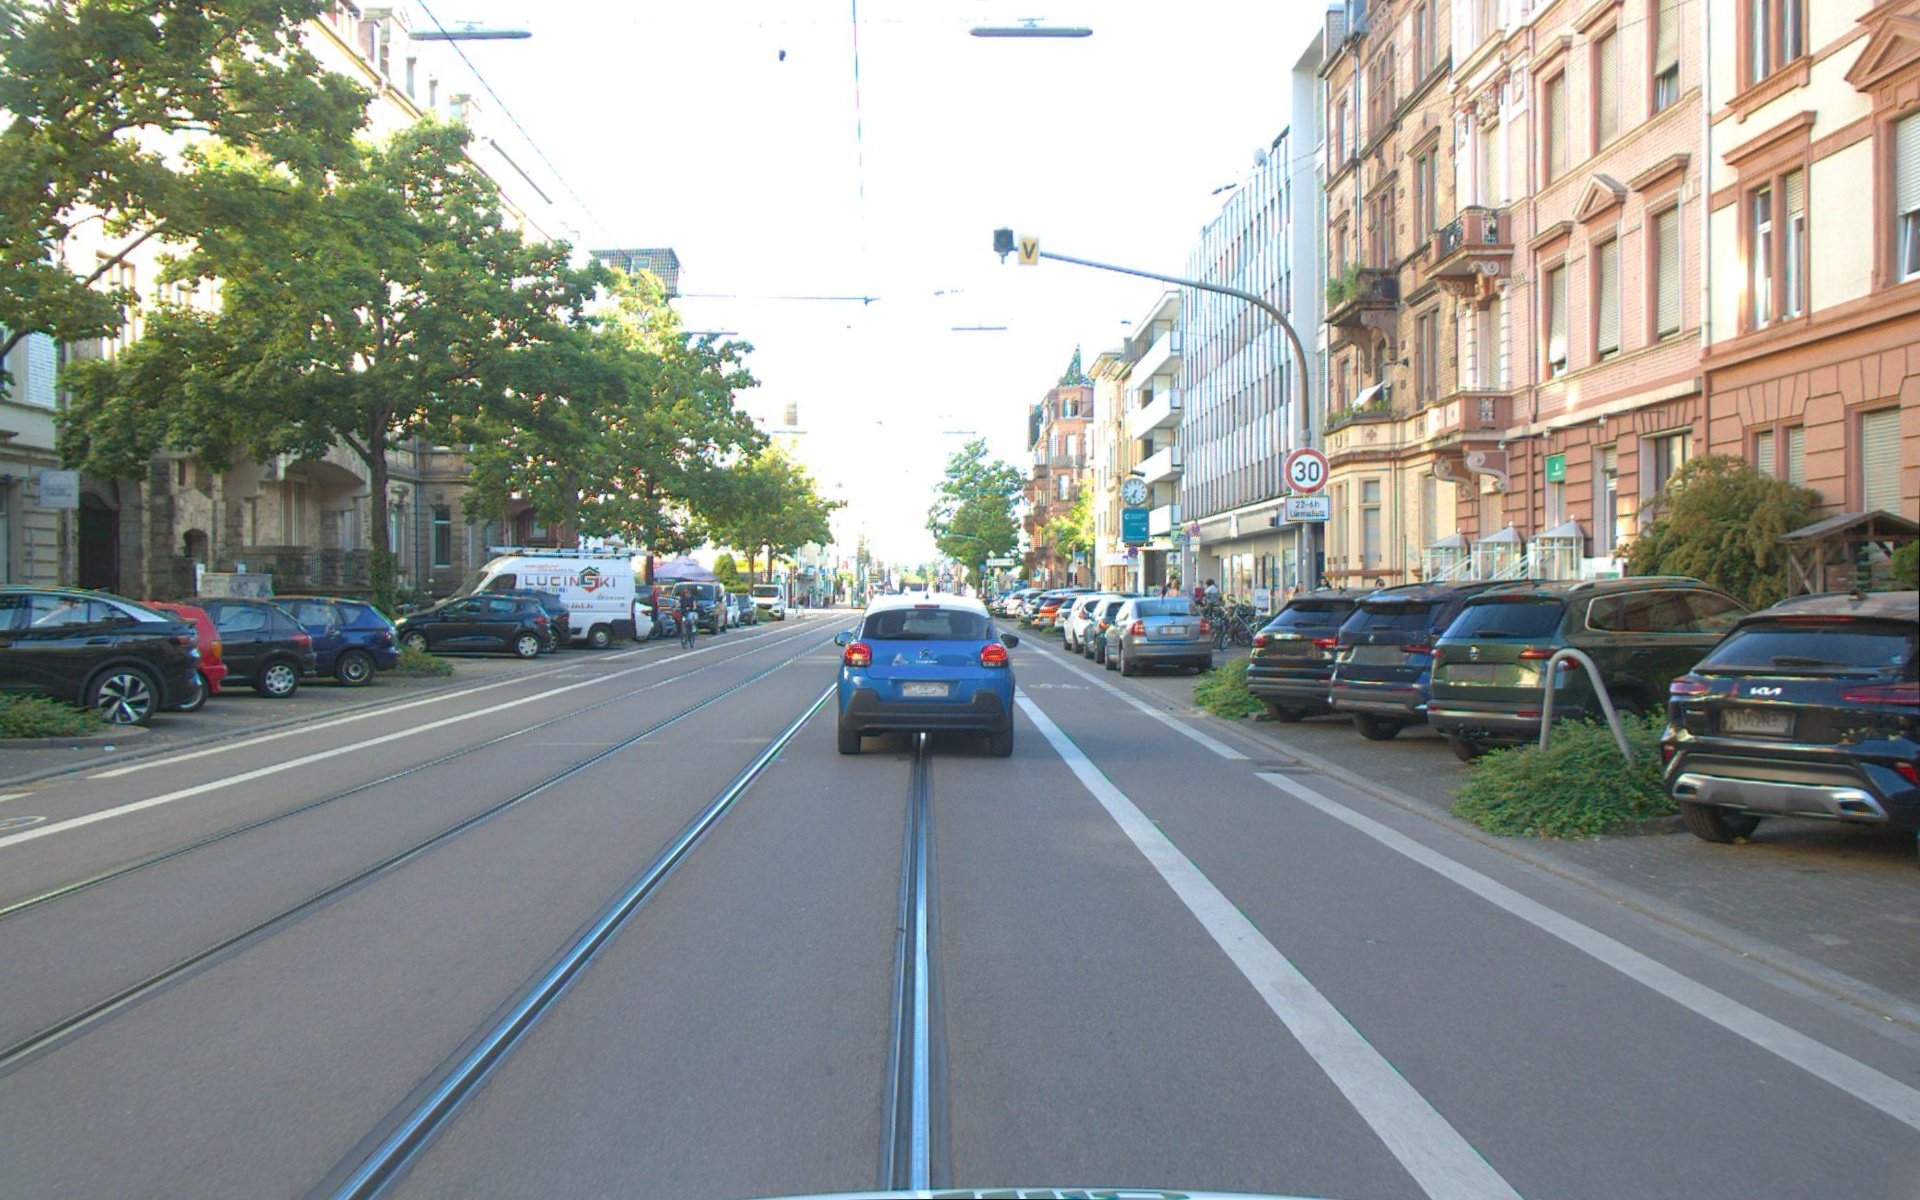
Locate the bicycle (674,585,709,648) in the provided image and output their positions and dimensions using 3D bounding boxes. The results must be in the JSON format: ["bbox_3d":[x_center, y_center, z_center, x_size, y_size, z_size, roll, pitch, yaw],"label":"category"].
[{"bbox_3d":[-7.518,0.451,46.368,0.666,1.708,2.096,1,0,-1],"label":"bicycle"}]

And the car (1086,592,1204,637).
[{"bbox_3d":[6.362,0.504,56.871,3.735,1.513,1.819,1,0,-31],"label":"car"}]

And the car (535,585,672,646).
[{"bbox_3d":[-11.246,0.487,52.186,3.939,1.848,1.697,1,0,-27],"label":"car"}]

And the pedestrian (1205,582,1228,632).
[{"bbox_3d":[9.228,0.263,59.511,0.678,1.787,0.678,1,-1,-1],"label":"pedestrian"}]

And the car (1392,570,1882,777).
[{"bbox_3d":[6.034,0.599,14.739,3.937,1.624,1.943,1,0,-26],"label":"car"}]

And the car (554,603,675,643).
[{"bbox_3d":[-11.590,0.777,55.533,3.752,1.287,1.503,1,0,-27],"label":"car"}]

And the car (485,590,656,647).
[{"bbox_3d":[-11.622,0.559,49.497,4.713,1.646,1.692,1,0,-34],"label":"car"}]

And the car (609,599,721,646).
[{"bbox_3d":[-10.578,0.801,59.273,3.672,1.651,1.777,1,0,-23],"label":"car"}]

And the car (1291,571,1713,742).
[{"bbox_3d":[5.710,0.554,17.458,3.937,1.624,2.070,1,0,-26],"label":"car"}]

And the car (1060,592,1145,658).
[{"bbox_3d":[3.683,0.638,43.436,1.835,1.624,3.999,1,0,-1],"label":"car"}]

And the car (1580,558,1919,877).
[{"bbox_3d":[6.110,0.618,10.494,4.280,1.624,2.021,1,0,-34],"label":"car"}]

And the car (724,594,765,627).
[{"bbox_3d":[-10.430,0.505,80.210,1.713,1.513,4.038,1,0,-4],"label":"car"}]

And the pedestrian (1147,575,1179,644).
[{"bbox_3d":[5.042,0.226,41.134,0.697,1.701,0.654,1,-1,-2],"label":"pedestrian"}]

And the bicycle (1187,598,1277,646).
[{"bbox_3d":[7.283,0.589,44.337,2.309,1.243,0.664,1,0,2],"label":"bicycle"}]

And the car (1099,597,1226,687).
[{"bbox_3d":[3.861,0.770,32.310,1.835,1.624,4.718,1,0,-1],"label":"car"}]

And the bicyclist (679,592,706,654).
[{"bbox_3d":[-7.503,0.636,46.429,0.621,1.711,0.726,1,0,-1],"label":"bicyclist"}]

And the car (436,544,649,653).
[{"bbox_3d":[-11.262,-0.009,44.756,5.316,2.797,1.787,1,0,-31],"label":"car"}]

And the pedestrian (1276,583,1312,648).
[{"bbox_3d":[8.560,0.399,42.391,0.697,1.635,0.654,-3,0,-2],"label":"pedestrian"}]

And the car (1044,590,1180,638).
[{"bbox_3d":[4.992,0.469,53.971,4.394,1.534,1.520,1,0,-31],"label":"car"}]

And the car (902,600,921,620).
[{"bbox_3d":[-3.635,0.758,124.609,1.394,1.457,3.138,1,0,-1],"label":"car"}]

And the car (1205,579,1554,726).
[{"bbox_3d":[5.224,0.603,20.390,4.270,1.624,1.957,1,0,-37],"label":"car"}]

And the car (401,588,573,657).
[{"bbox_3d":[-11.893,0.562,41.608,3.939,1.646,1.697,1,0,-27],"label":"car"}]

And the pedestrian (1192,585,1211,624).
[{"bbox_3d":[9.938,0.182,68.070,0.678,1.615,0.678,1,0,-1],"label":"pedestrian"}]

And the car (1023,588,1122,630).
[{"bbox_3d":[4.299,0.353,63.194,3.409,1.582,1.803,1,0,-33],"label":"car"}]

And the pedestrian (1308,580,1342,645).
[{"bbox_3d":[9.389,0.316,42.531,0.697,1.635,0.654,1,-1,-2],"label":"pedestrian"}]

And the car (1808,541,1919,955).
[{"bbox_3d":[5.962,0.605,6.975,4.379,1.624,2.071,1,0,-26],"label":"car"}]

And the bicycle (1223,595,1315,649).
[{"bbox_3d":[7.218,0.509,38.718,2.015,1.243,0.663,0,0,-3],"label":"bicycle"}]

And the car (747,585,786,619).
[{"bbox_3d":[-10.974,0.110,93.996,1.794,1.880,4.213,1,0,-1],"label":"car"}]

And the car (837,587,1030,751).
[{"bbox_3d":[-0.279,0.630,16.679,1.727,1.466,3.555,1,0,-2],"label":"car"}]

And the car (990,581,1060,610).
[{"bbox_3d":[3.700,-0.255,94.865,3.601,1.601,1.850,1,0,-21],"label":"car"}]

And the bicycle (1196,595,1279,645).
[{"bbox_3d":[7.063,0.505,42.144,1.978,1.243,0.663,1,0,-2],"label":"bicycle"}]

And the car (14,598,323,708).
[{"bbox_3d":[-11.759,0.755,24.640,3.951,1.515,1.785,1,0,-34],"label":"car"}]

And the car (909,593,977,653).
[{"bbox_3d":[-0.489,0.632,47.513,1.835,1.624,3.999,1,0,-1],"label":"car"}]

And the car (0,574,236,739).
[{"bbox_3d":[-10.886,0.627,19.156,4.314,1.814,1.973,1,0,-34],"label":"car"}]

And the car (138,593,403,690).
[{"bbox_3d":[-11.551,0.669,27.734,3.943,1.515,1.789,1,0,-29],"label":"car"}]

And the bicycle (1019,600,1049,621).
[{"bbox_3d":[3.806,0.543,84.730,0.549,1.066,1.784,1,0,-36],"label":"bicycle"}]

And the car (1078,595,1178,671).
[{"bbox_3d":[3.812,0.727,38.027,1.835,1.624,3.999,1,0,-1],"label":"car"}]

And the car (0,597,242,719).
[{"bbox_3d":[-11.741,0.732,21.760,3.951,1.515,1.845,1,0,-34],"label":"car"}]

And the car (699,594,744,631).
[{"bbox_3d":[-10.766,0.559,74.863,1.713,1.646,4.407,1,0,-4],"label":"car"}]

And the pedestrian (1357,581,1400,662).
[{"bbox_3d":[8.615,0.435,34.038,0.697,1.635,0.654,1,-1,-2],"label":"pedestrian"}]

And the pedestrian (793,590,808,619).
[{"bbox_3d":[-9.657,0.267,100.153,0.720,1.756,0.623,1,-1,-25],"label":"pedestrian"}]

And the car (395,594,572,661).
[{"bbox_3d":[-11.250,0.652,39.140,3.924,1.515,1.797,1,0,-18],"label":"car"}]

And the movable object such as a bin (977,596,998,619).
[{"bbox_3d":[1.846,0.481,110.694,1.366,1.509,1.655,1,0,-1],"label":"movable object such as a bin"}]

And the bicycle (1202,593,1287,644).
[{"bbox_3d":[7.107,0.451,41.357,1.978,1.243,0.663,1,0,-2],"label":"bicycle"}]

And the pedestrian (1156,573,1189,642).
[{"bbox_3d":[5.127,0.185,39.908,0.697,1.635,0.654,1,-1,-2],"label":"pedestrian"}]

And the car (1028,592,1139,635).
[{"bbox_3d":[4.526,0.489,60.671,3.686,1.547,1.945,1,0,-34],"label":"car"}]

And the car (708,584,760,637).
[{"bbox_3d":[-8.985,0.400,66.023,1.713,2.008,5.236,1,0,-4],"label":"car"}]

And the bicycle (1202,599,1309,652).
[{"bbox_3d":[7.194,0.613,40.286,2.487,1.243,0.663,1,0,-2],"label":"bicycle"}]

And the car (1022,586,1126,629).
[{"bbox_3d":[4.561,0.311,66.127,3.686,1.681,2.023,1,0,-34],"label":"car"}]

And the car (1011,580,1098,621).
[{"bbox_3d":[3.951,0.037,69.189,3.417,1.668,1.662,1,0,-38],"label":"car"}]
